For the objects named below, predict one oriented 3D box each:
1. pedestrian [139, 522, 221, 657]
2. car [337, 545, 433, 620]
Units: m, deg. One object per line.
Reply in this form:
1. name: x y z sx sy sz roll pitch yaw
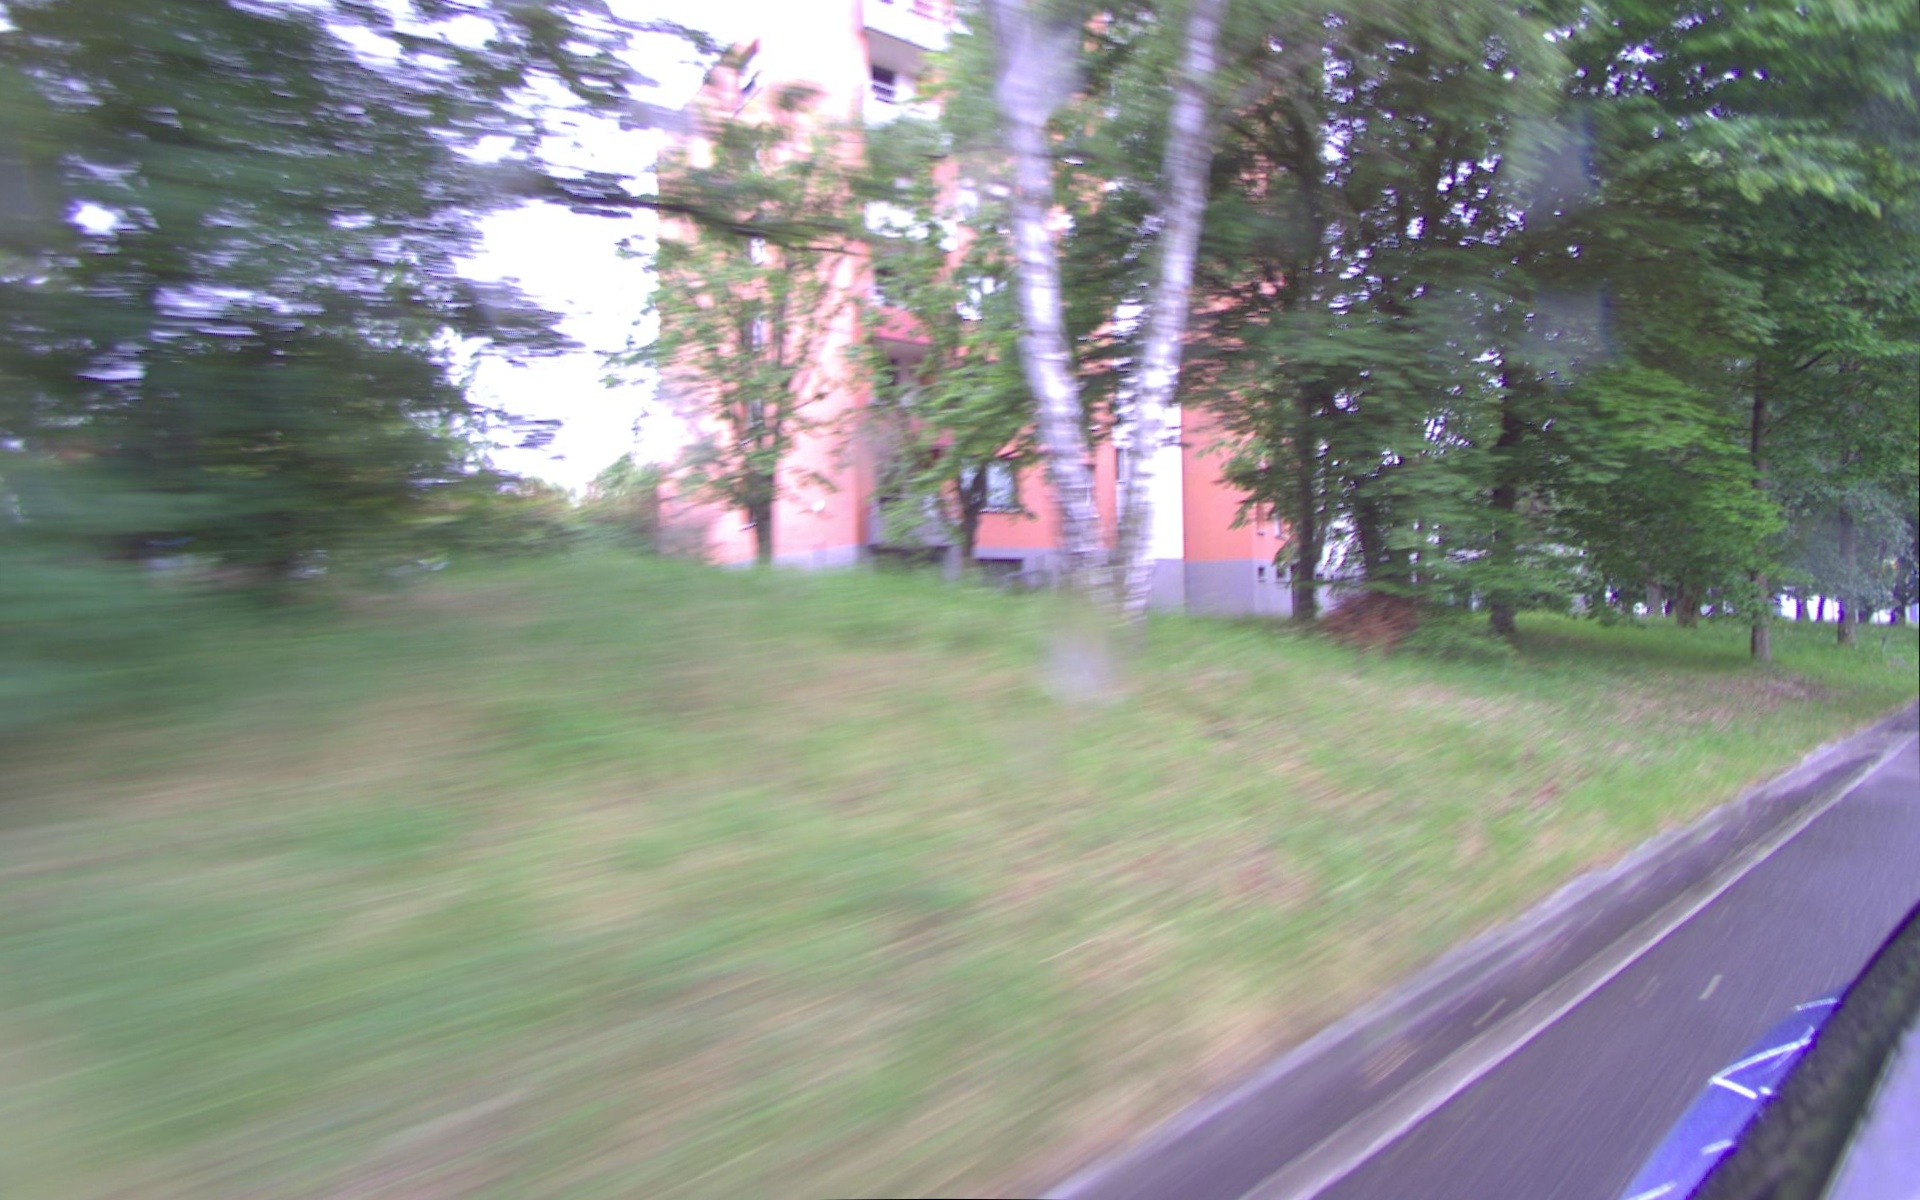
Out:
1. pedestrian: -7.847 -0.107 10.207 0.613 1.300 0.656 1 0 -36
2. car: -17.177 -0.463 30.148 1.963 2.039 3.997 2 -1 -37
